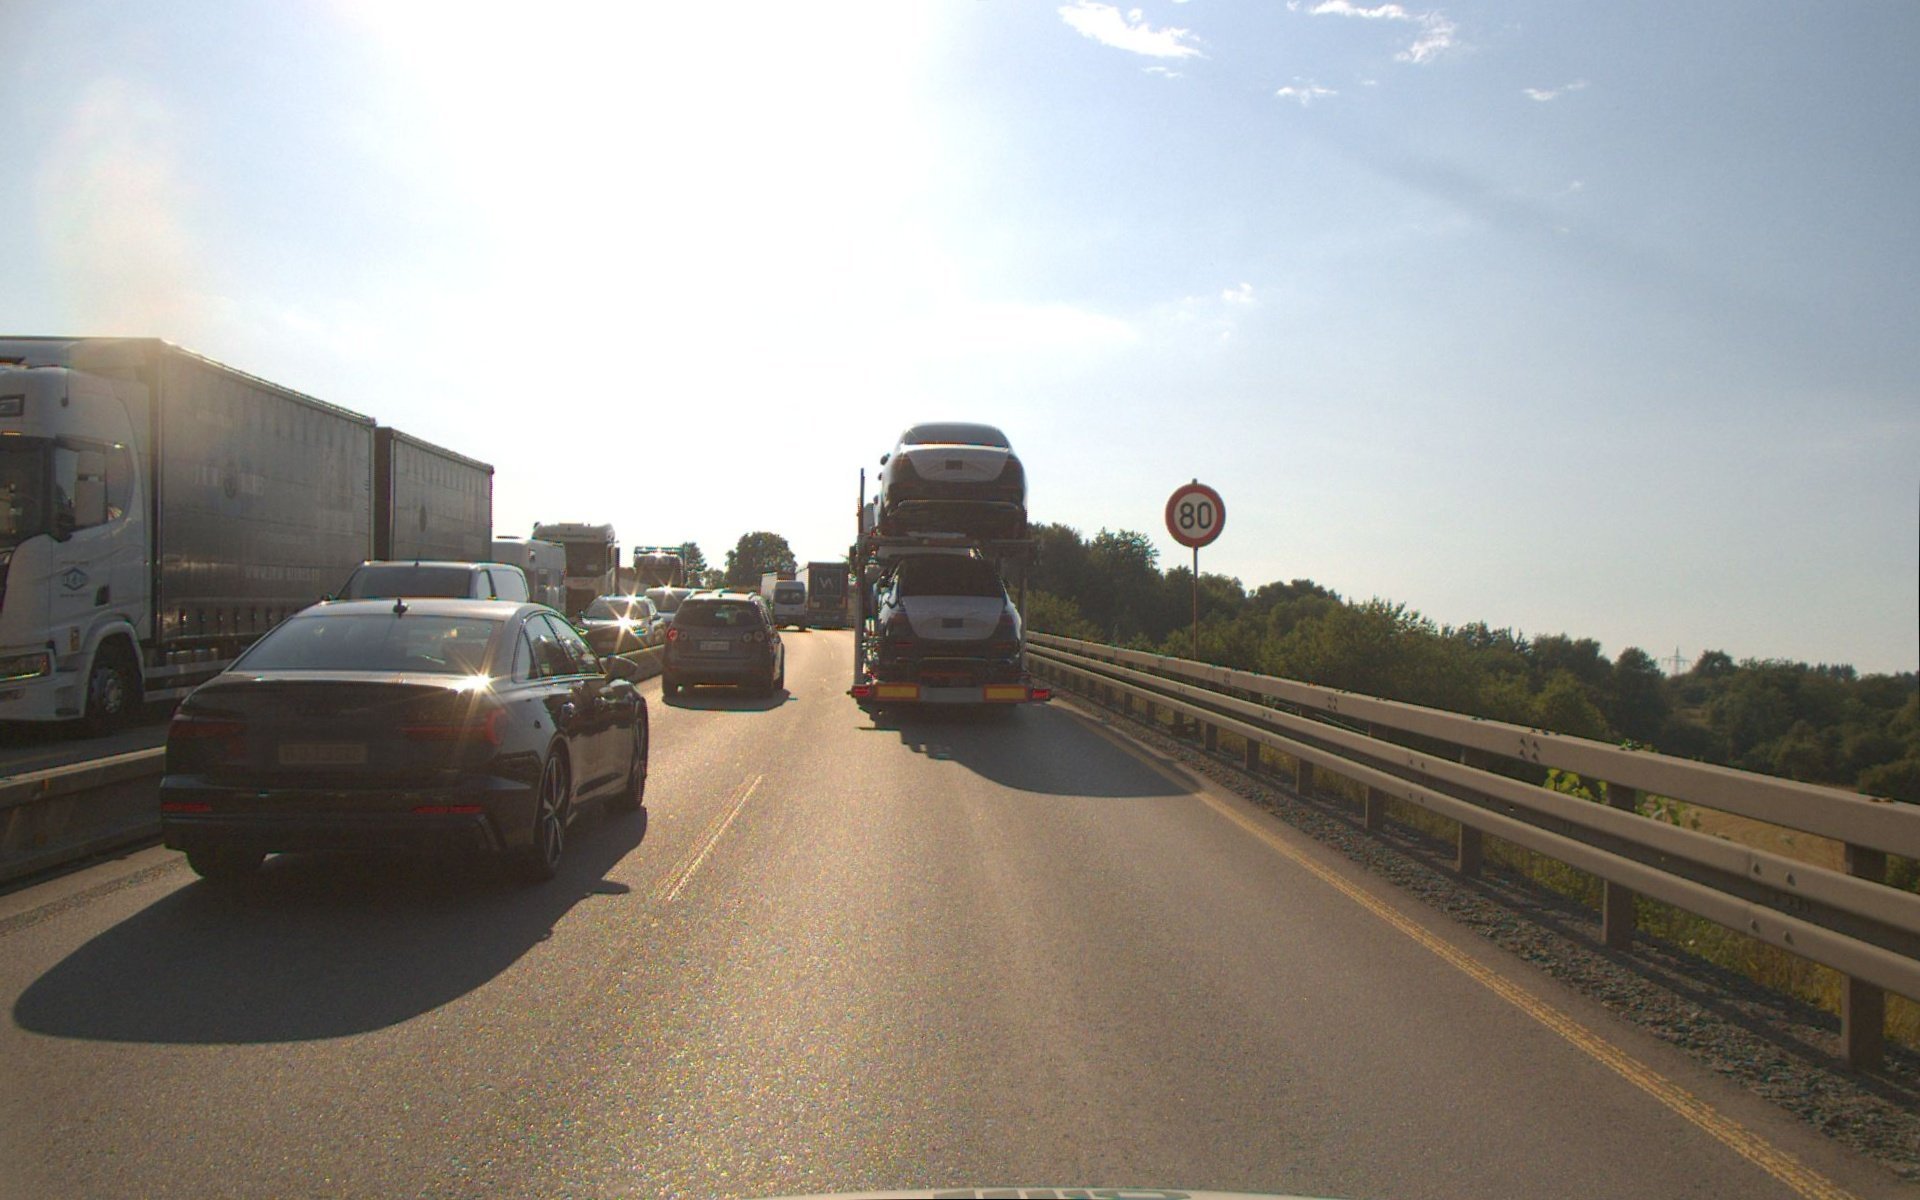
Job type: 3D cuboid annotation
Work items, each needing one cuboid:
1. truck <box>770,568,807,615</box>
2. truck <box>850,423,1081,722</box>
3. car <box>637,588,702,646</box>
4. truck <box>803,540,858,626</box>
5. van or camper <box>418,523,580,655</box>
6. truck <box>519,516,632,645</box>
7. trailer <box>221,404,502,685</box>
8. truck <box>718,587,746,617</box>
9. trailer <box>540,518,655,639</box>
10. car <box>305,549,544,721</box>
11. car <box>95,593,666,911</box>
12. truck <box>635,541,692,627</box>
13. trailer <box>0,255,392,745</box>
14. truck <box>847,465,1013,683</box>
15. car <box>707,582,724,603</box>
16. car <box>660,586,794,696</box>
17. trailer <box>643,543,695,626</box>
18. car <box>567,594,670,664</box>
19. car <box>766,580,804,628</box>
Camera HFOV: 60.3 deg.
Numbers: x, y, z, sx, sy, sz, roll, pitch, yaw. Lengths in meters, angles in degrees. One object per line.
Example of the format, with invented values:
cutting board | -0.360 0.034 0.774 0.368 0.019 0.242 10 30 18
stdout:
truck | -14.182 -0.656 137.032 2.480 3.712 8.900 1 -1 -3
truck | -0.232 -0.287 25.205 2.743 3.558 10.597 1 -1 -3
car | -9.150 0.522 52.277 1.723 1.725 4.447 1 -1 -6
truck | -8.497 -1.008 107.520 3.222 5.328 9.922 1 -1 -6
van or camper | -11.212 -0.215 40.937 2.361 2.942 7.611 1 -1 -4
truck | -12.105 -0.558 52.524 2.550 3.820 6.509 1 -1 -5
trailer | -10.302 -0.810 29.521 2.395 4.262 8.536 1 -1 -4
truck | -25.670 0.236 186.359 2.539 3.226 6.671 1 -1 -4
trailer | -12.711 -0.622 59.089 2.471 3.790 13.958 1 0 -6
car | -6.766 0.420 21.466 1.781 1.959 4.832 1 -1 -4
car | -3.067 0.694 10.005 1.896 1.423 4.958 1 0 -3
truck | -14.957 -0.757 83.739 2.456 4.137 5.656 1 -1 -7
trailer | -9.709 -0.876 20.058 2.426 4.404 10.505 1 -1 -3
truck | -0.873 -0.425 34.656 2.782 3.858 9.976 1 -1 -5
car | -24.872 -0.783 168.107 1.600 2.049 3.991 1 -1 -9
car | -3.694 0.633 26.773 1.657 1.624 3.999 1 -1 -1
trailer | -15.894 -0.730 90.984 2.263 4.203 14.574 1 0 -8
car | -7.839 0.658 38.323 1.647 1.505 4.600 1 -1 -3
car | -9.656 0.248 91.719 1.883 2.536 5.404 1 -1 -4
